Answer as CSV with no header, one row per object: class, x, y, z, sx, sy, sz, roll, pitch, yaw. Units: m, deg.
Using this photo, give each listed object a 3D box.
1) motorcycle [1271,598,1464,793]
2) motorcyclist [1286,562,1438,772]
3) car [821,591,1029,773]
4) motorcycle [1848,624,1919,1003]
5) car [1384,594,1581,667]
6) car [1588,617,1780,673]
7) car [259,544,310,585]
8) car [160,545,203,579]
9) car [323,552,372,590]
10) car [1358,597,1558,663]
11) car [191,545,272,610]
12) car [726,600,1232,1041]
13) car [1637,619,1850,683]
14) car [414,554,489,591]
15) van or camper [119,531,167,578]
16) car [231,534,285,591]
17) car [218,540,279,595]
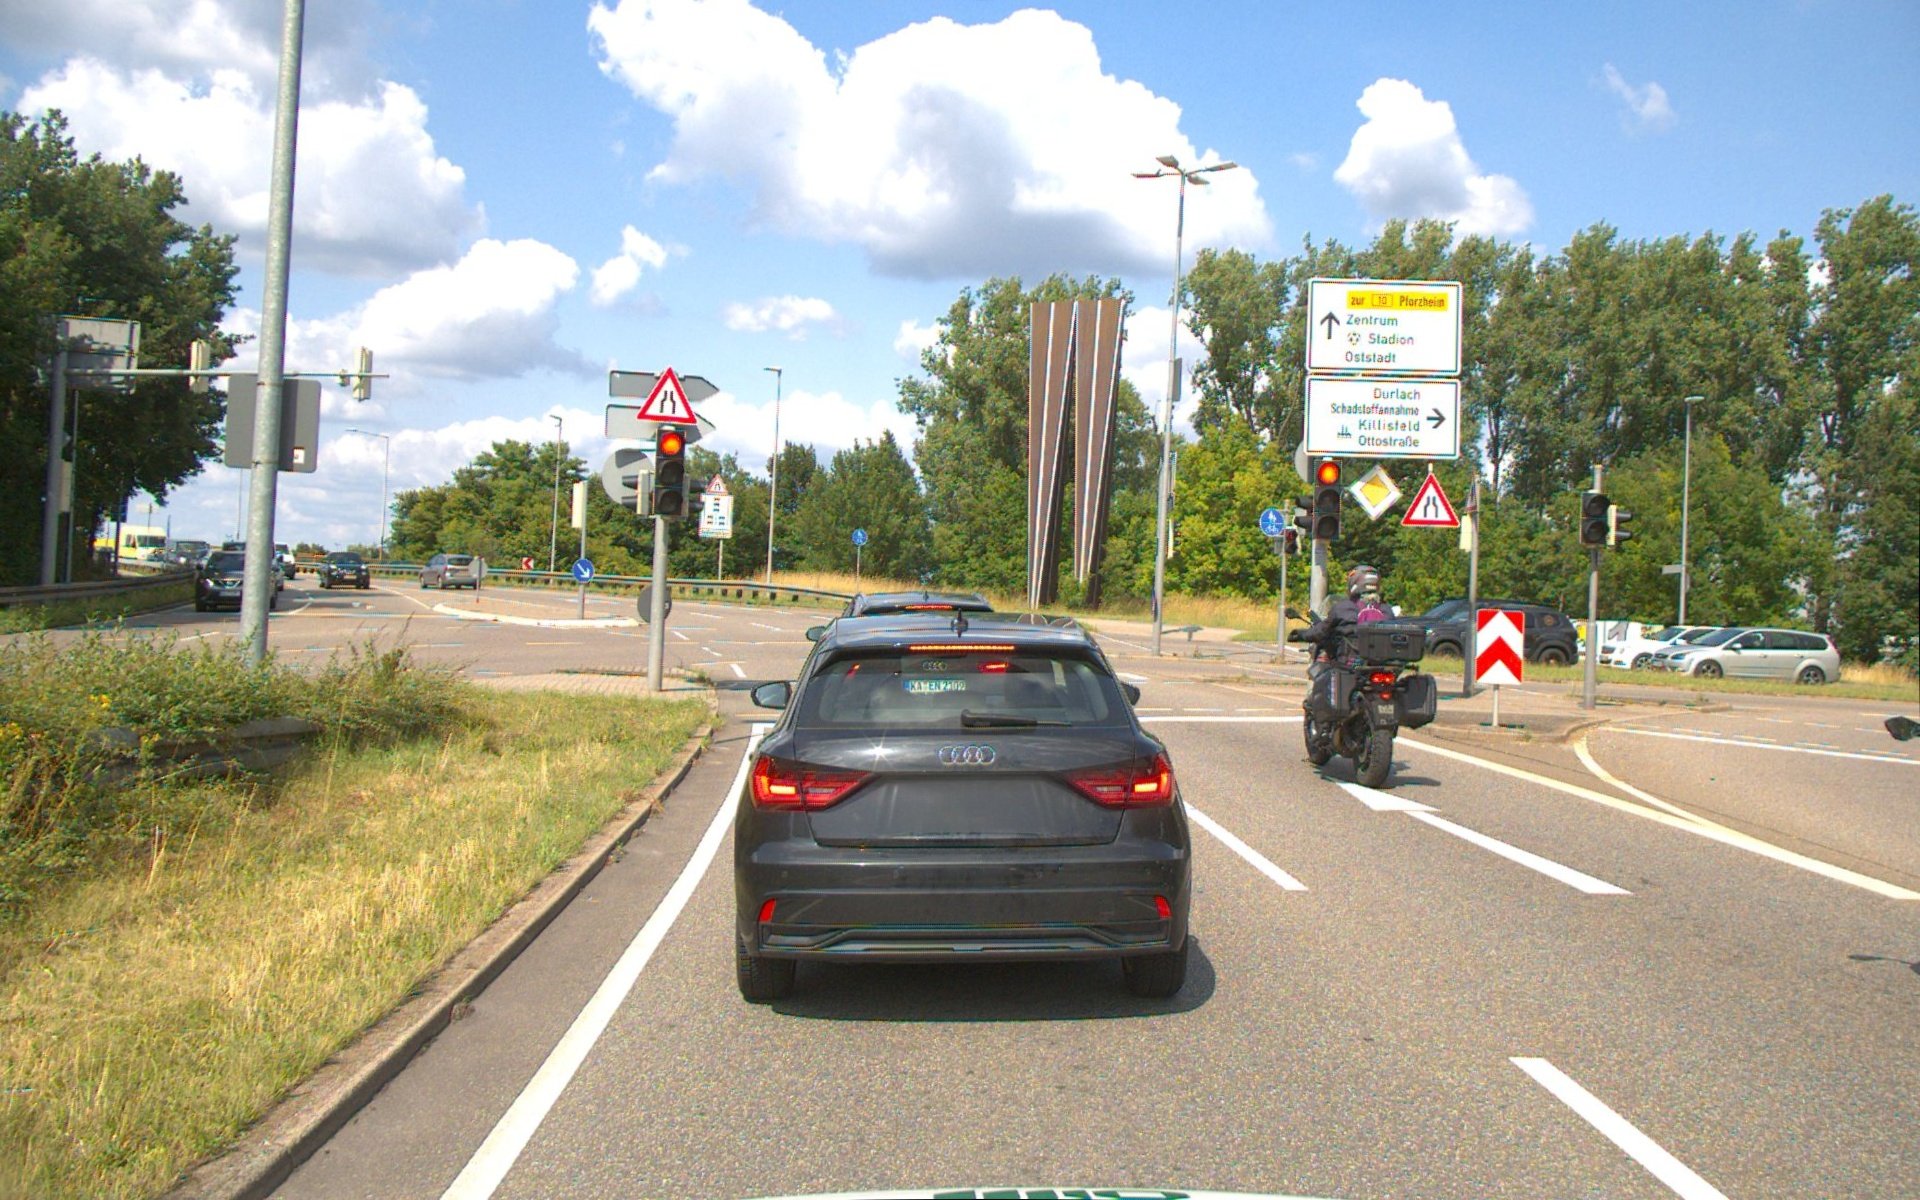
motorcycle,3.248,0.712,13.461,0.918,1.407,2.369,2,0,-1
motorcyclist,3.254,0.519,13.487,0.918,1.618,1.083,2,0,-1
car,-0.436,0.651,15.327,1.692,1.448,3.841,0,1,-5
motorcycle,4.073,0.834,5.547,0.848,1.413,2.370,2,1,-1
car,12.607,0.724,40.067,4.182,1.572,1.736,2,0,-2
car,19.338,1.197,44.283,4.404,1.304,1.736,2,0,-4
car,-35.696,-1.890,87.358,1.972,2.049,4.427,2,0,-29
car,-42.133,-2.079,89.503,1.823,1.735,4.286,2,0,-29
car,-26.222,-1.226,70.763,1.708,1.522,4.018,2,0,-23
car,13.172,0.782,43.928,4.750,1.572,1.736,2,0,-2
car,-19.882,-0.564,45.259,1.813,1.646,3.974,2,-1,-21
car,0.036,0.735,7.534,1.691,1.429,3.999,0,1,-1
car,19.069,1.231,40.344,4.384,1.343,1.735,2,0,-4
car,-22.697,-1.253,73.719,1.978,1.522,4.068,2,0,-36
van or camper,-50.310,-2.777,101.754,1.974,2.730,6.788,2,0,-32
car,-28.216,-1.486,66.404,1.819,2.137,4.293,2,0,-24
car,-25.371,-1.139,59.103,1.817,1.833,4.299,2,0,-22
